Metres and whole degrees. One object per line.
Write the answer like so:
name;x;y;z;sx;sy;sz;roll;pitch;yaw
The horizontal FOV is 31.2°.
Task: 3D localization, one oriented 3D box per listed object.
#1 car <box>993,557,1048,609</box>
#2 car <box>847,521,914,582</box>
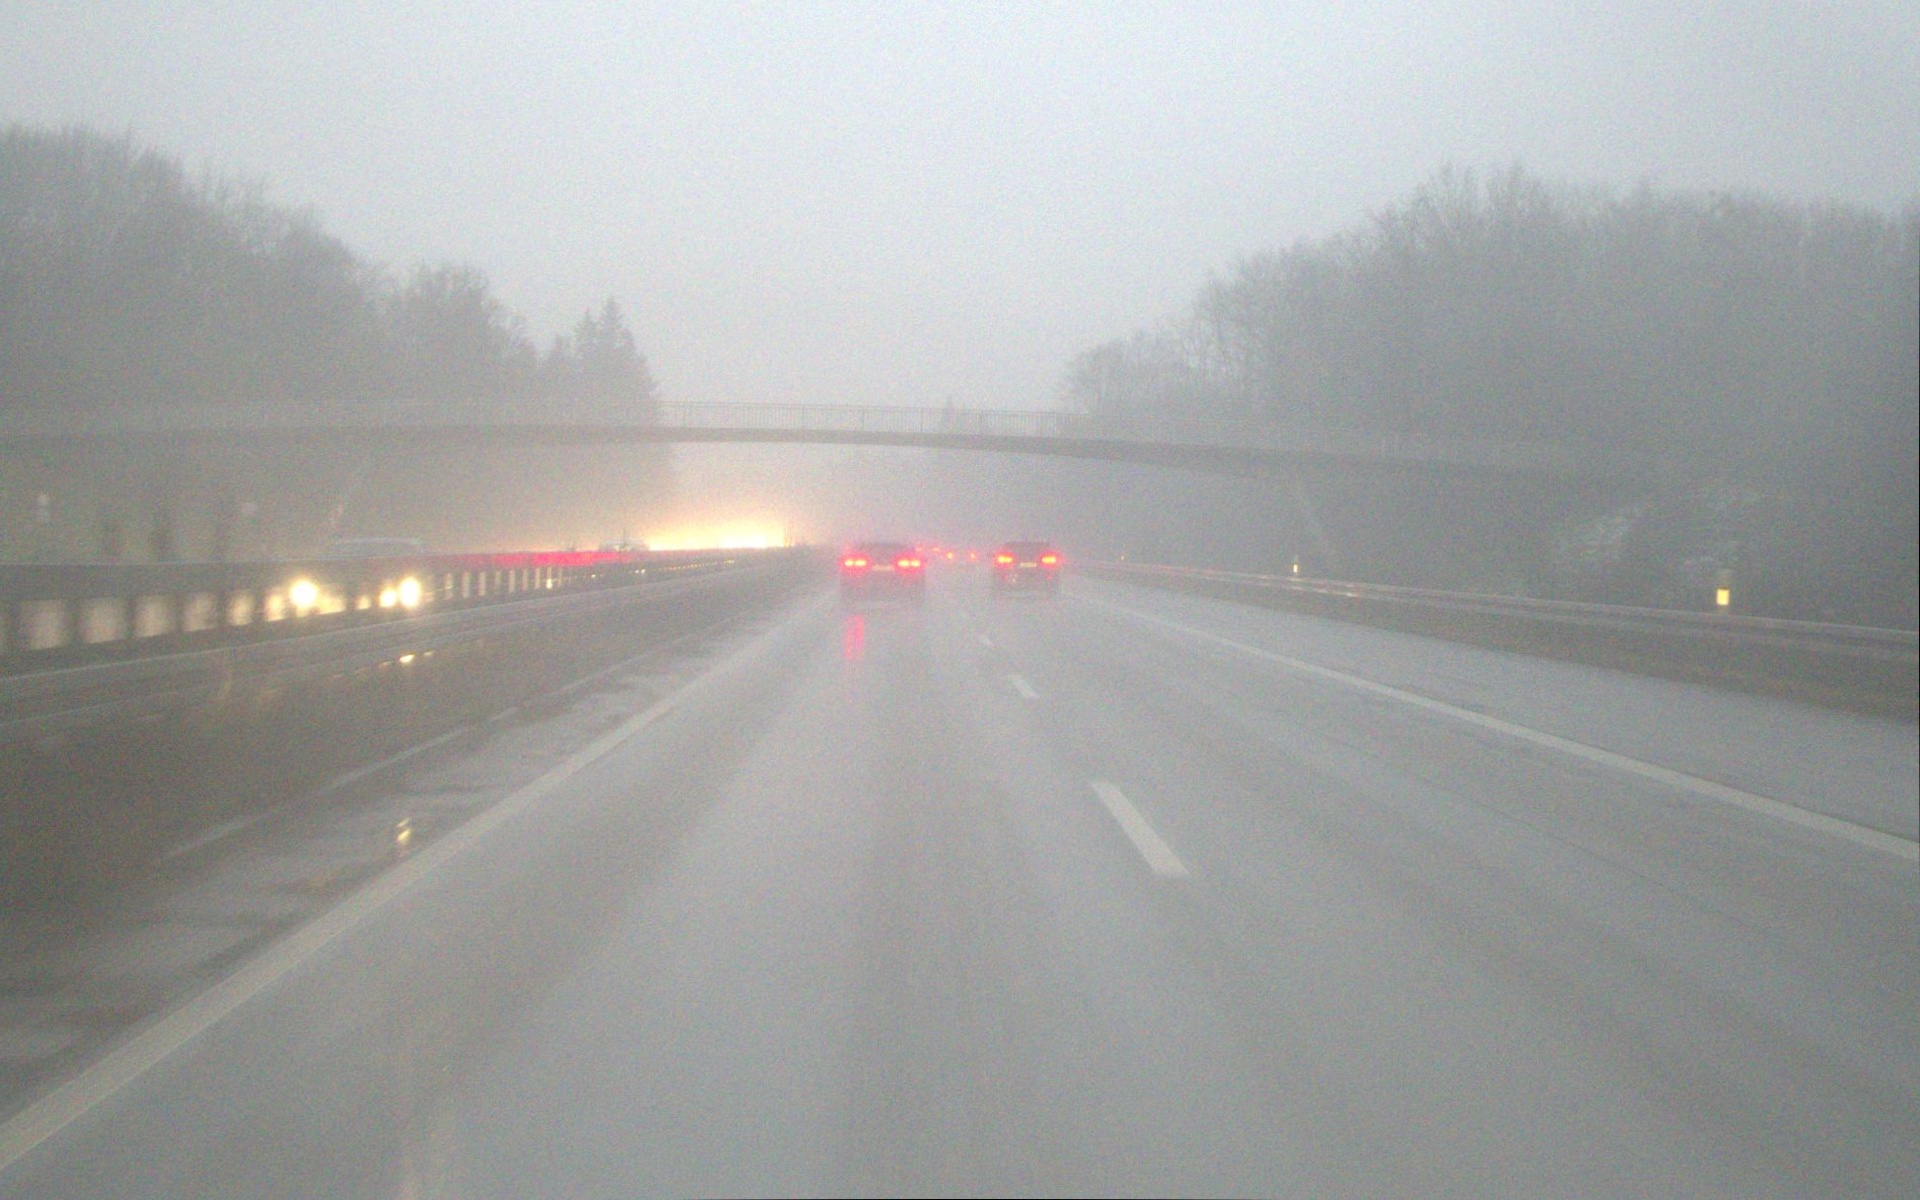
car;1.707;-0.497;97.685;1.454;1.424;3.490;0;1;-1
car;-1.785;-1.089;77.698;1.454;1.339;3.490;1;1;-1
